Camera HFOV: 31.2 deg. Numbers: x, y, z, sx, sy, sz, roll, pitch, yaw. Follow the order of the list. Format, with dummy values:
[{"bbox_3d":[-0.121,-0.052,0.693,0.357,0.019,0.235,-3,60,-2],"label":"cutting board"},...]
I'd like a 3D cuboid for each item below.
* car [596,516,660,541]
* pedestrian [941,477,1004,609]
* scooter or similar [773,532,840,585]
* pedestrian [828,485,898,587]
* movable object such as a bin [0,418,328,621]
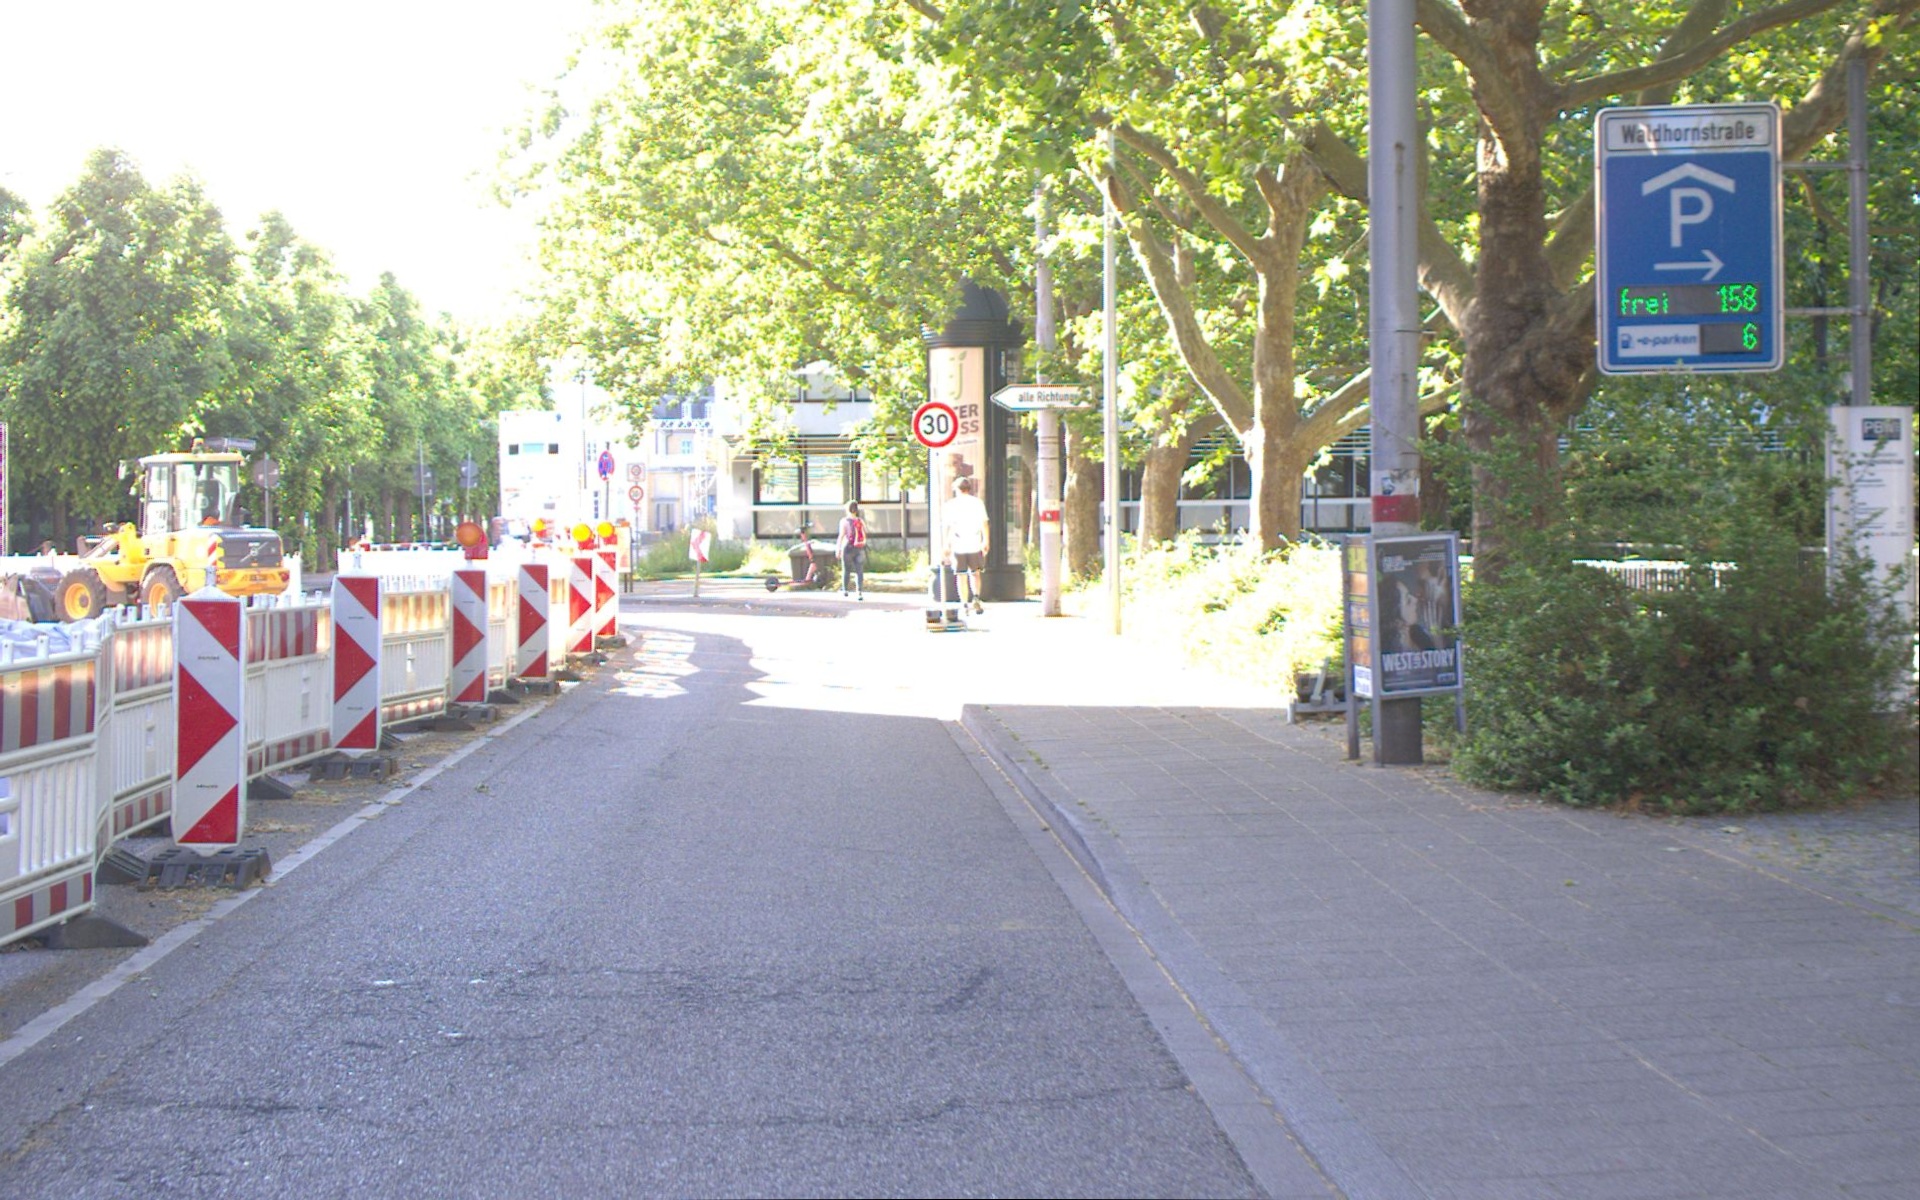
[{"bbox_3d":[-24.032,-5.153,248.953,4.556,1.784,2.000,0,1,-4],"label":"car"},{"bbox_3d":[0.168,-0.802,47.840,0.745,1.806,1.134,0,2,-7],"label":"pedestrian"},{"bbox_3d":[-2.809,-0.755,62.954,1.146,0.910,0.419,-3,0,-10],"label":"scooter or similar"},{"bbox_3d":[-1.569,-1.033,55.423,0.708,1.617,0.939,-1,1,-34],"label":"pedestrian"},{"bbox_3d":[-12.884,-1.236,54.153,5.926,3.021,2.561,0,2,41],"label":"movable object such as a bin"}]
